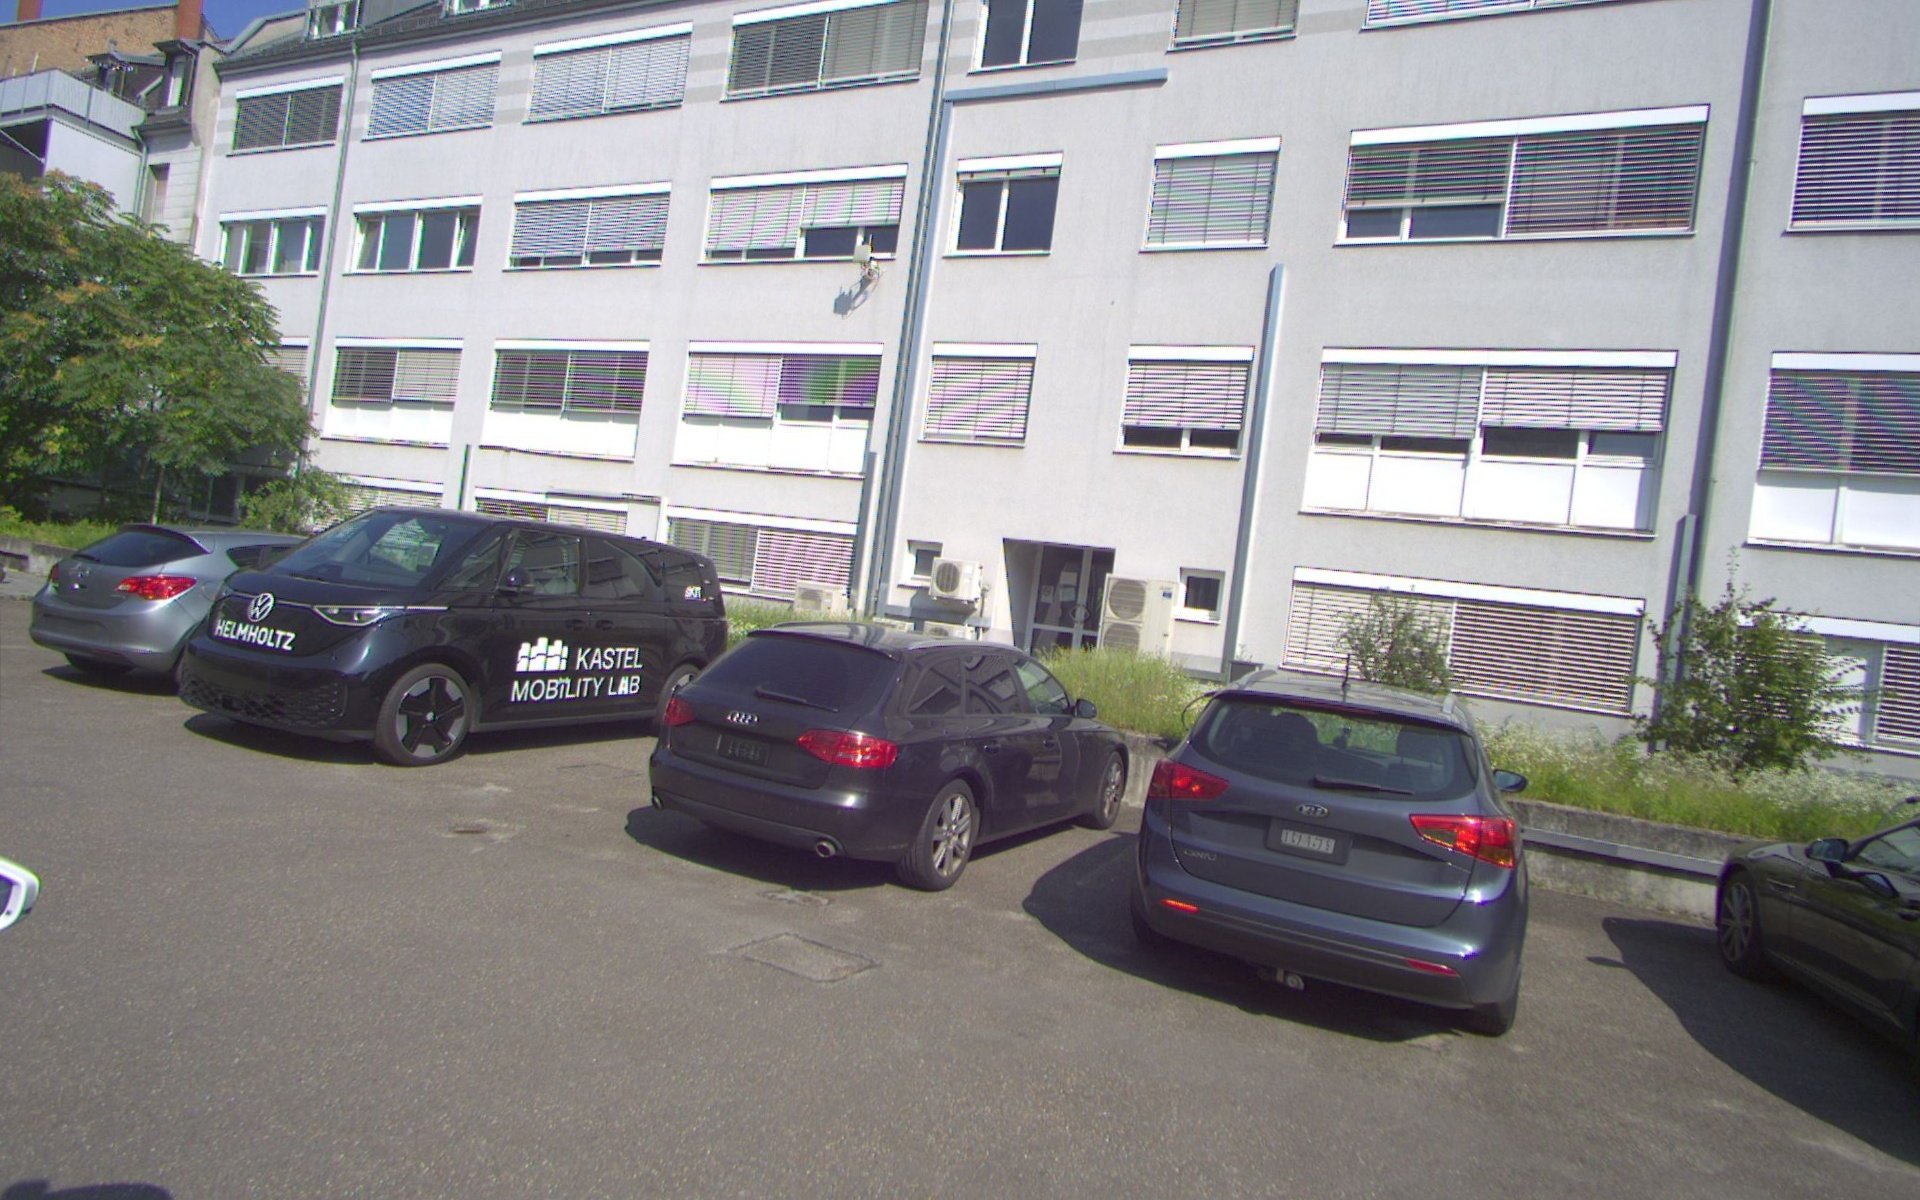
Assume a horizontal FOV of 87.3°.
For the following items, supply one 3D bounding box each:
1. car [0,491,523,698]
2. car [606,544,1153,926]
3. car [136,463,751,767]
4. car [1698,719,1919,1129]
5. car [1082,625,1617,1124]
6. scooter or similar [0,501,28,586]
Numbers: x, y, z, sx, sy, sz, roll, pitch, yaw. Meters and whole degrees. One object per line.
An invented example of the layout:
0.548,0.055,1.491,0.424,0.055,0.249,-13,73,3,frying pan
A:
-6.548,0.060,9.892,1.742,1.499,3.946,6,-2,21,car
-0.176,0.816,7.055,1.740,1.711,4.129,7,-2,28,car
-3.941,0.203,8.726,1.848,1.815,4.516,6,-2,21,car
5.154,1.528,4.515,1.862,1.607,3.814,7,-2,21,car
2.276,1.179,5.801,1.846,1.607,3.875,7,-2,25,car
-15.176,-0.935,15.385,1.324,1.276,0.379,7,0,-2,scooter or similar
